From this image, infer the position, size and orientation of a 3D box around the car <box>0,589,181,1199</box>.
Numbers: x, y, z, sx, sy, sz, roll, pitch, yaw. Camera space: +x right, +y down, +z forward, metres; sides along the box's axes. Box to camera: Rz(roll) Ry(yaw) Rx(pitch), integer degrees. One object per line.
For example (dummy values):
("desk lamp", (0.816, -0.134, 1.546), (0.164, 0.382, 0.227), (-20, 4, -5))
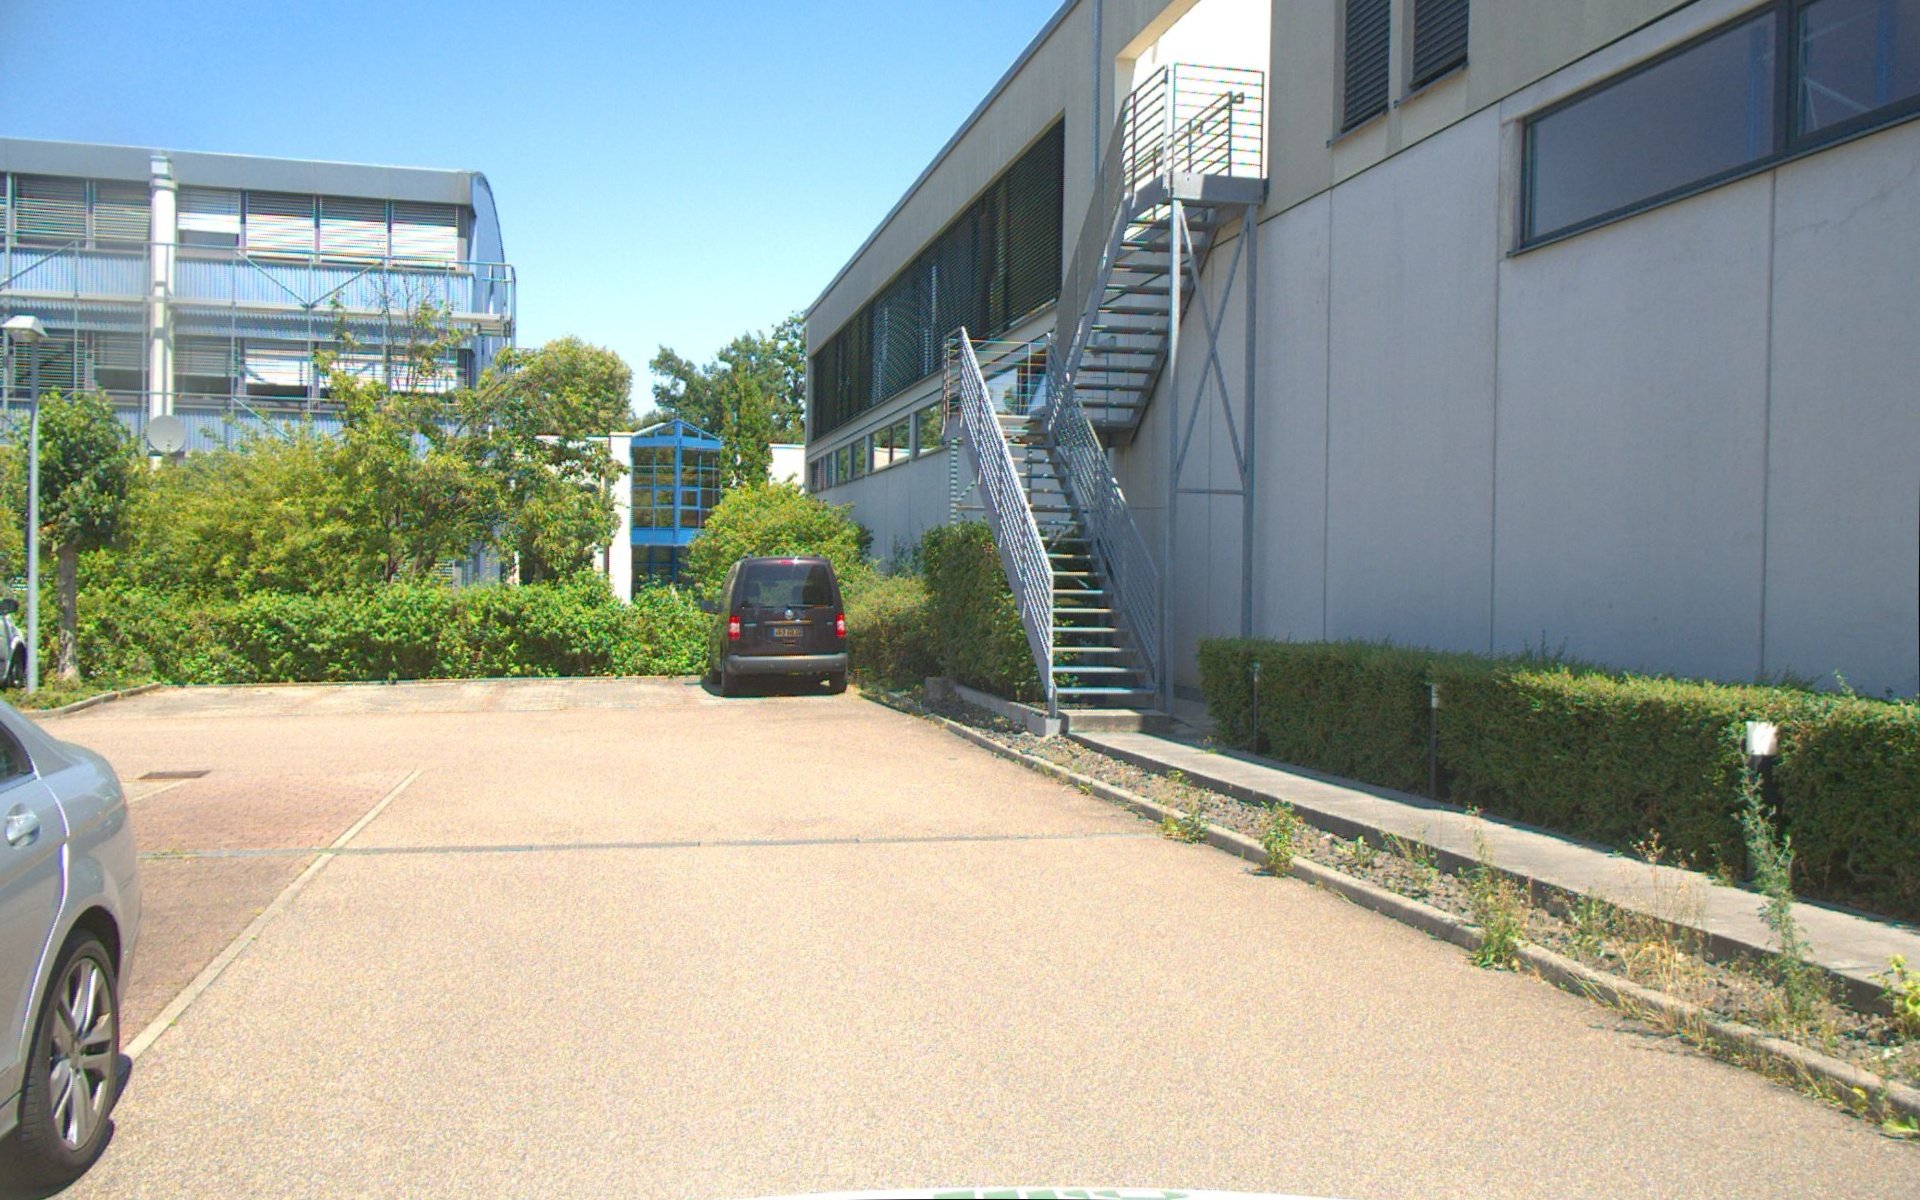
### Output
("car", (-2.779, 0.731, 2.688), (1.698, 1.482, 4.137), (-1, 0, -10))

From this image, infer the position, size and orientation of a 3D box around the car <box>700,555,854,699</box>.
("car", (-2.713, 0.315, 23.764), (1.713, 1.869, 3.986), (-1, 1, -13))

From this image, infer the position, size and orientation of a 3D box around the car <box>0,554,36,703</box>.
("car", (-13.235, 0.408, 20.530), (1.881, 1.938, 4.790), (-1, 1, -14))
